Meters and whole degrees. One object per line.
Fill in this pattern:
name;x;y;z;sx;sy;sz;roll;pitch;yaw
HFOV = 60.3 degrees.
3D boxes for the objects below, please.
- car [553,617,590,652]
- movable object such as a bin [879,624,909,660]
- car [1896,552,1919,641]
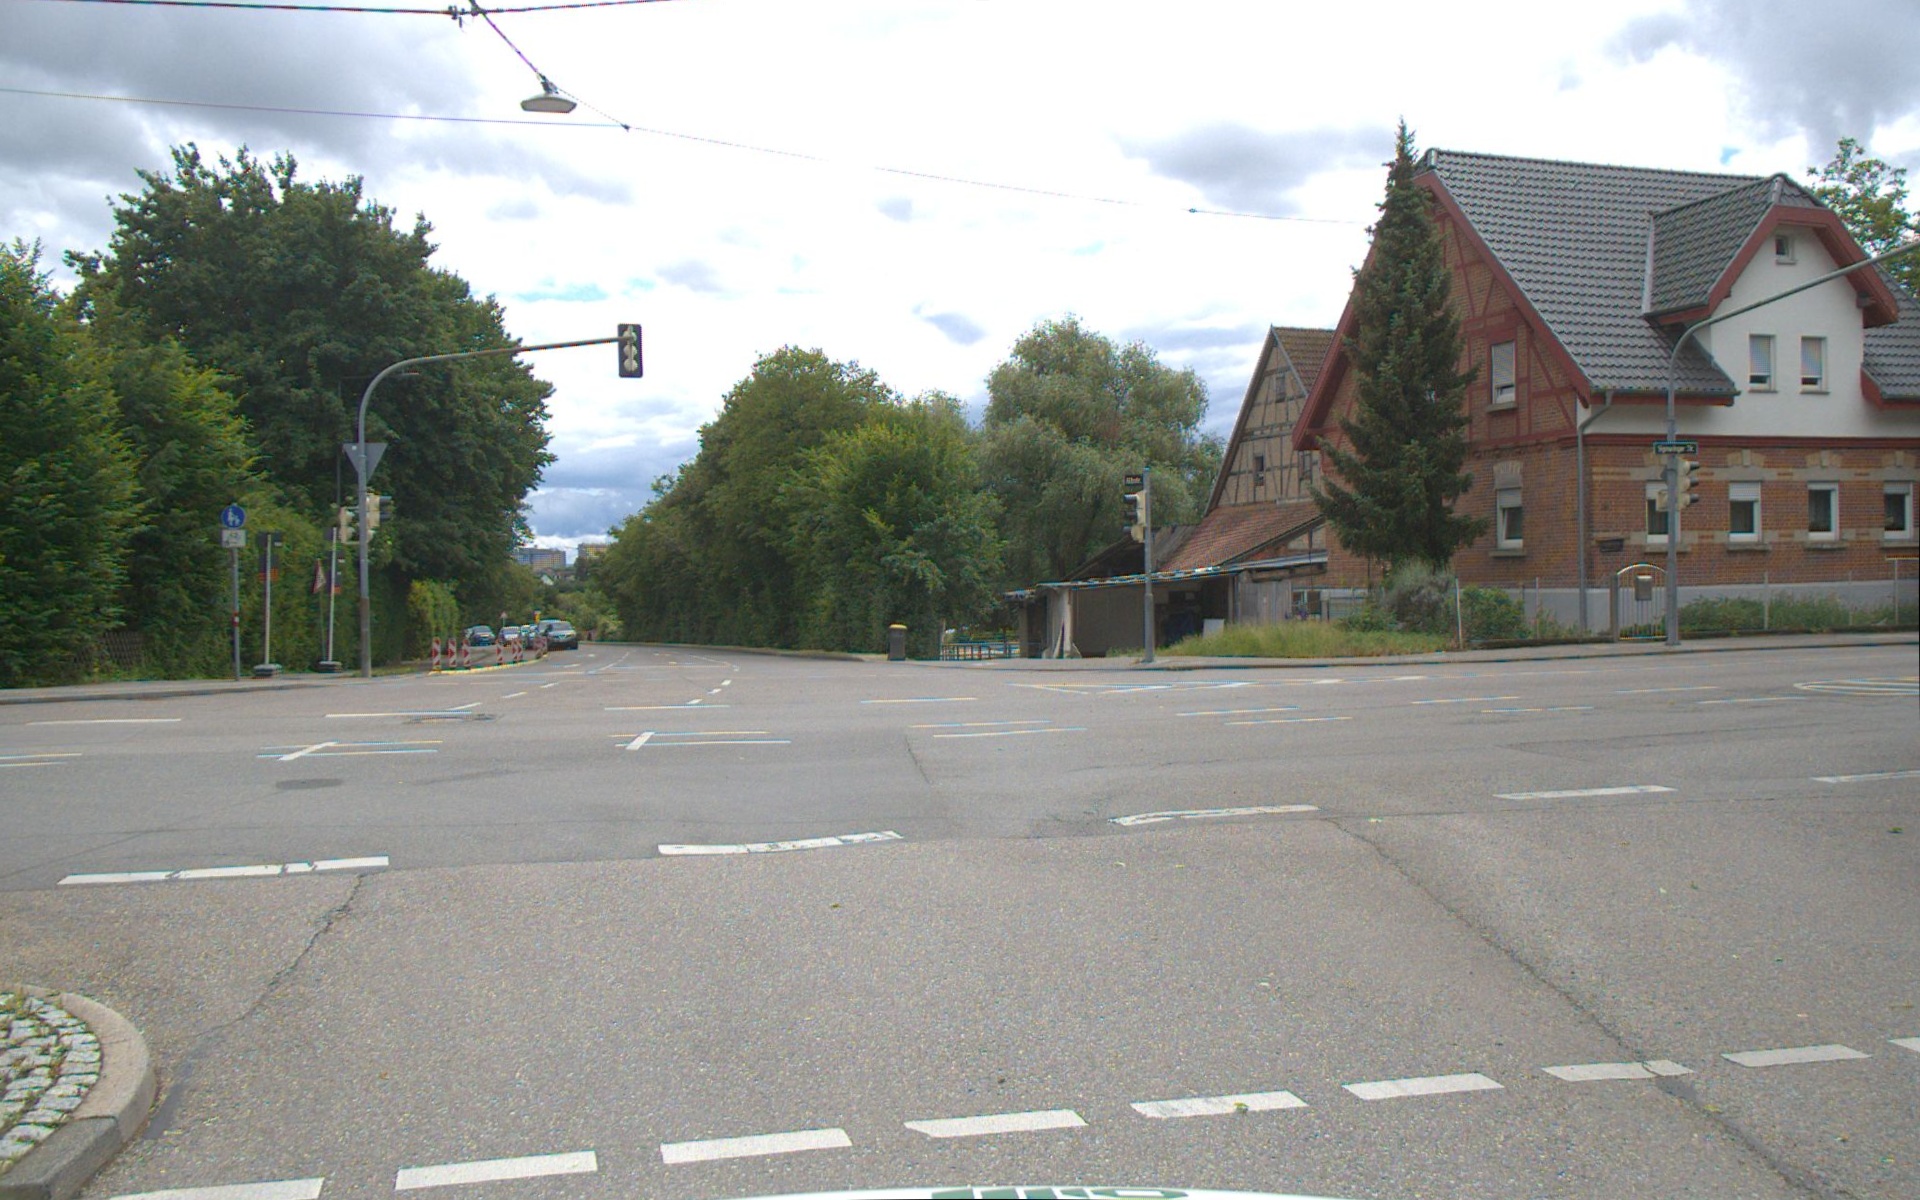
car;-21.746;1.926;92.674;1.959;1.780;3.987;-1;0;-13
movable object such as a bin;-1.734;1.091;43.348;0.579;0.922;0.602;-1;0;22
car;18.534;-0.124;28.676;3.927;1.545;1.917;-2;0;-19
